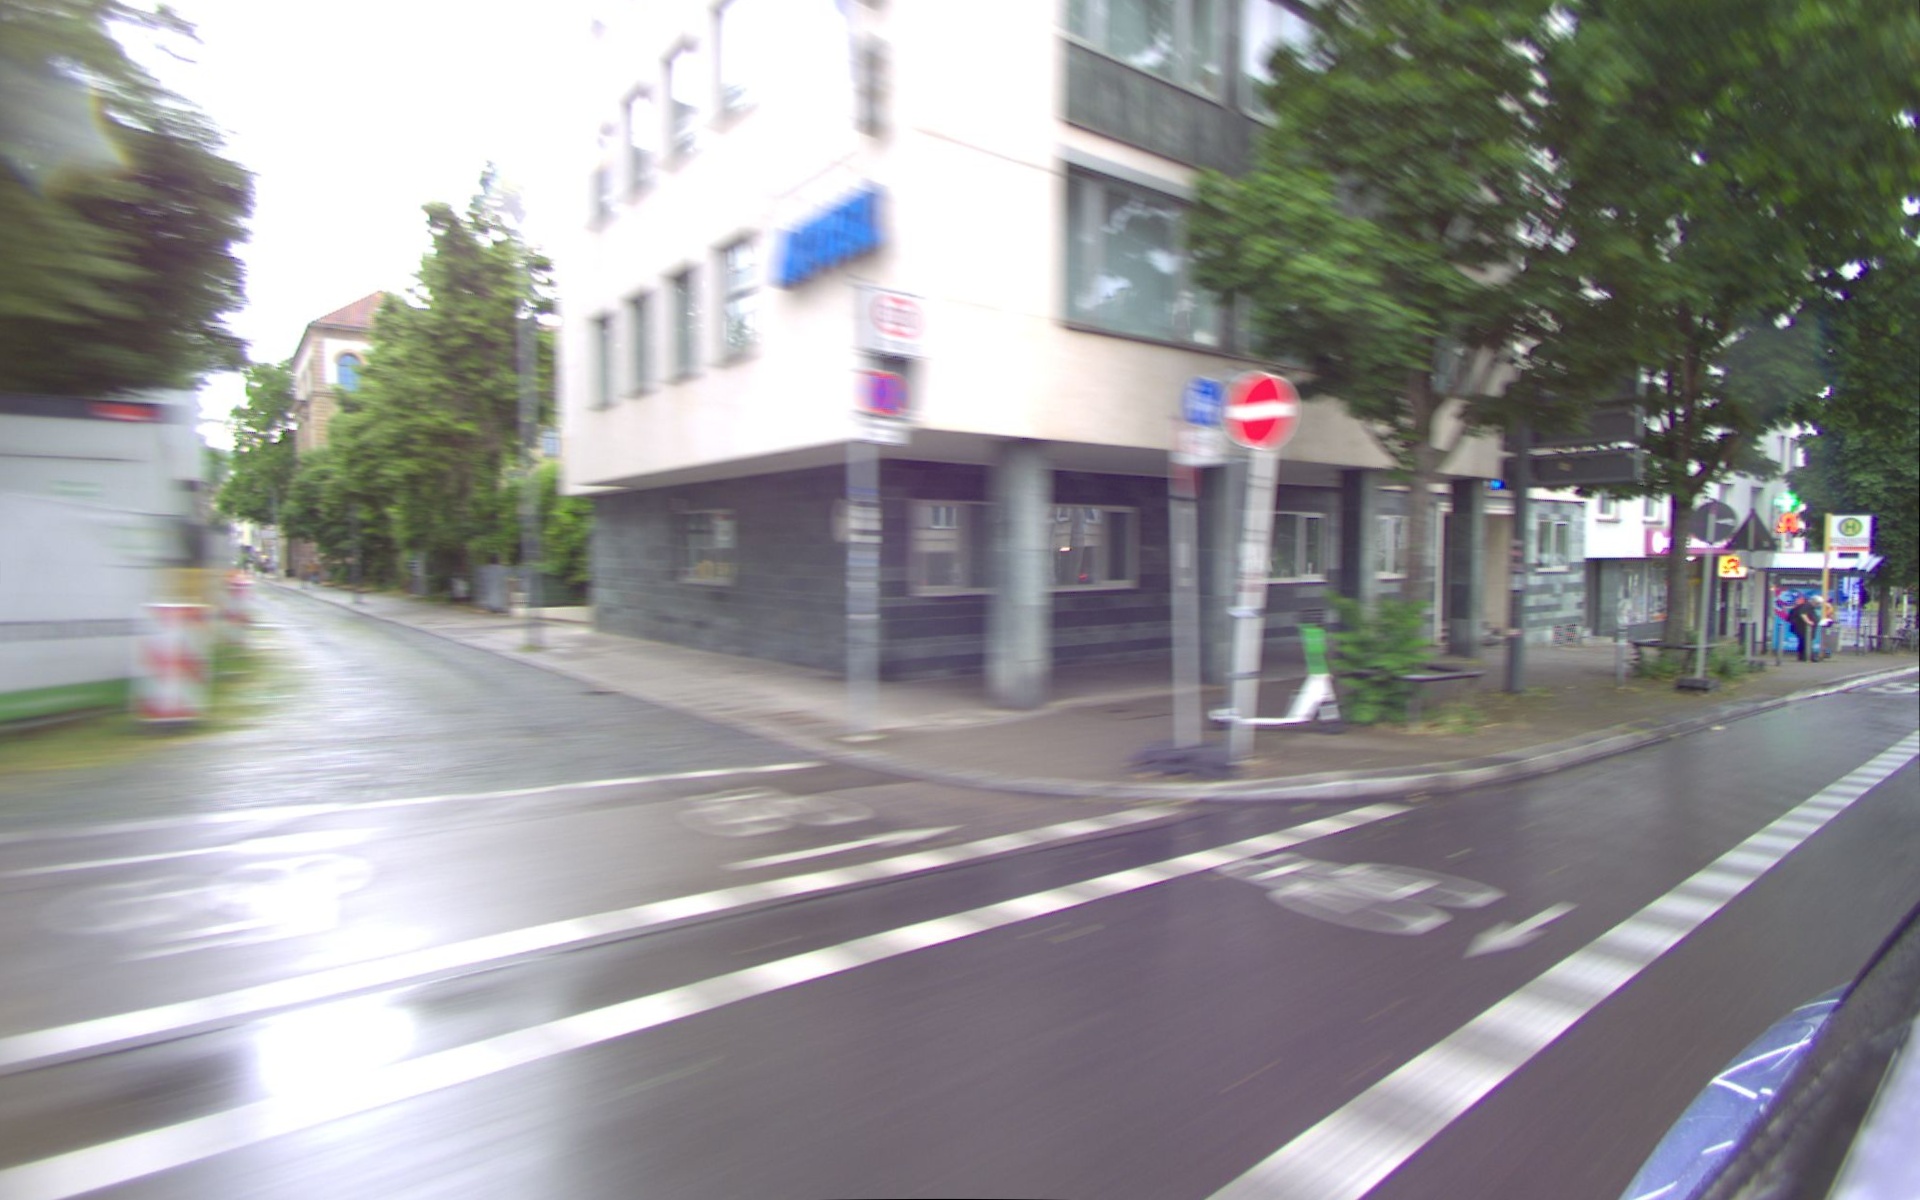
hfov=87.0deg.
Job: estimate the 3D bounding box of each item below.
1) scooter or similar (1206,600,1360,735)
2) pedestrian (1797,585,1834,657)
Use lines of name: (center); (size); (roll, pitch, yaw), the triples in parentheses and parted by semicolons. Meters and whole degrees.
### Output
scooter or similar: (3.106, 0.624, 9.787); (1.366, 1.194, 0.509); (1, 2, 19)
pedestrian: (19.859, 0.484, 23.503); (0.476, 1.644, 0.560); (2, 0, -39)
